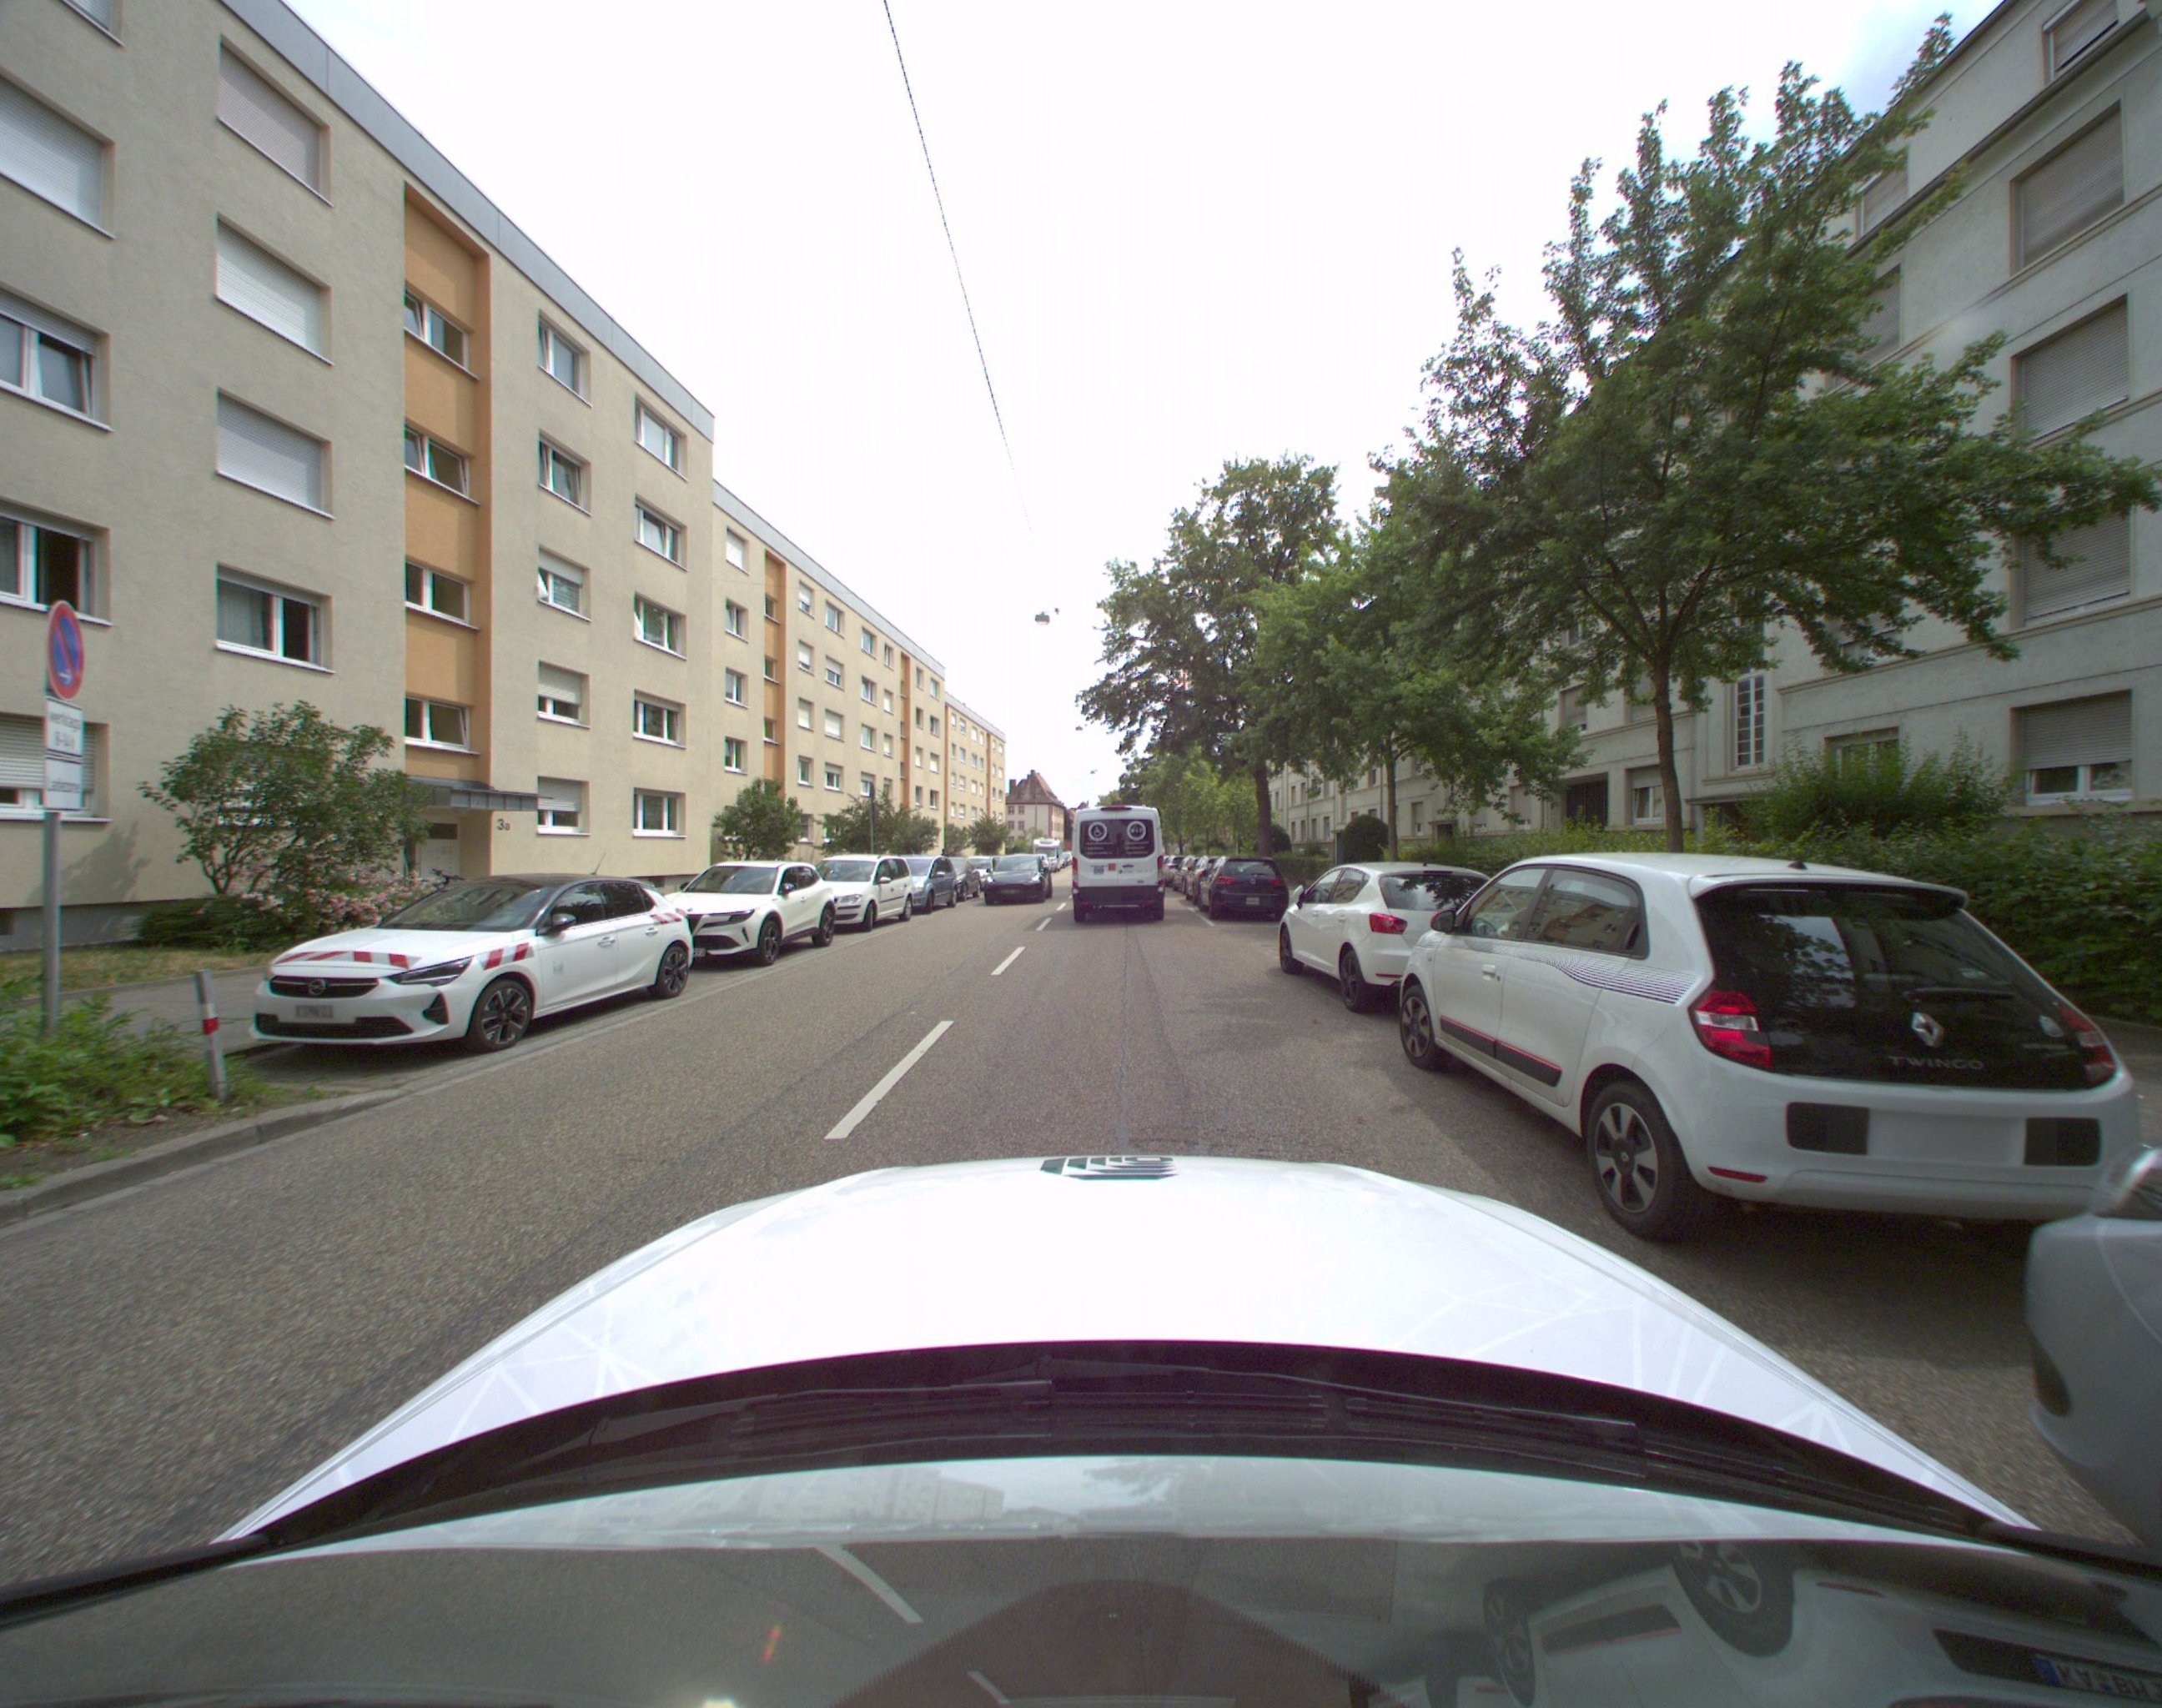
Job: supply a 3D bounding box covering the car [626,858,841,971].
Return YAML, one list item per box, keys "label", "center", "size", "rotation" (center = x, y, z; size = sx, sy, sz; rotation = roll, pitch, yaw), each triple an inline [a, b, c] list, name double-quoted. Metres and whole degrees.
- label: "car"
  center: [-5.383, 0.846, 13.241]
  size: [1.702, 1.473, 3.990]
  rotation: [1, 0, 1]

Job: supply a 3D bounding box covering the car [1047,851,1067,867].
- label: "car"
  center: [-2.426, 0.482, 83.594]
  size: [1.879, 1.579, 5.219]
  rotation: [1, 0, 1]

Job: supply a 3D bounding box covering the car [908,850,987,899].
- label: "car"
  center: [-4.733, 0.684, 29.529]
  size: [1.934, 1.612, 4.305]
  rotation: [1, 0, 3]

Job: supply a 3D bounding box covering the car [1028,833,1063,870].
- label: "car"
  center: [-3.033, -0.201, 71.344]
  size: [2.501, 3.024, 7.400]
  rotation: [1, 0, 2]

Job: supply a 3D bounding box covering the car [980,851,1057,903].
- label: "car"
  center: [-2.008, 0.701, 27.393]
  size: [1.943, 1.521, 4.616]
  rotation: [-2, 0, 3]

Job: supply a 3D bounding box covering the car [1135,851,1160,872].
- label: "car"
  center: [5.316, 0.564, 65.536]
  size: [1.654, 1.583, 4.286]
  rotation: [2, 0, 0]

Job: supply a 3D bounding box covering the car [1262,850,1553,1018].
- label: "car"
  center: [3.314, 0.691, 9.172]
  size: [1.691, 1.450, 4.102]
  rotation: [0, 0, 1]

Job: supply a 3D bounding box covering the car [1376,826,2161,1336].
- label: "car"
  center: [3.043, 0.725, 4.553]
  size: [1.598, 1.607, 3.808]
  rotation: [2, 0, 4]

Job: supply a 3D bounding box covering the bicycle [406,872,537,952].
- label: "bicycle"
  center: [-10.780, 0.981, 14.495]
  size: [0.575, 1.251, 1.941]
  rotation: [0, 1, 13]

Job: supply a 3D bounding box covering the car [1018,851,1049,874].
- label: "car"
  center: [-3.421, 0.571, 59.236]
  size: [1.747, 1.579, 4.572]
  rotation: [-1, 0, 3]

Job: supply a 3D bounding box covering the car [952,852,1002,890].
- label: "car"
  center: [-4.642, 0.712, 36.796]
  size: [1.664, 1.561, 3.853]
  rotation: [1, 0, 1]

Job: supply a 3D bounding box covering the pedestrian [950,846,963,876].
- label: "pedestrian"
  center: [-7.569, 0.438, 49.621]
  size: [0.617, 1.813, 0.803]
  rotation: [-1, 0, 0]

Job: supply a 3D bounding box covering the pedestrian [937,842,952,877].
- label: "pedestrian"
  center: [-7.341, 0.297, 43.753]
  size: [0.617, 1.813, 0.899]
  rotation: [1, 0, 0]

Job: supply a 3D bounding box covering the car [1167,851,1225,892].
- label: "car"
  center: [4.480, 0.625, 32.371]
  size: [1.691, 1.469, 4.755]
  rotation: [1, 0, 1]

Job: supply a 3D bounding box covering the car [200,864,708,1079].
- label: "car"
  center: [-5.576, 0.888, 8.030]
  size: [1.701, 1.473, 3.994]
  rotation: [1, 0, 4]

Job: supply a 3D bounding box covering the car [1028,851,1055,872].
- label: "car"
  center: [-3.094, 0.556, 64.412]
  size: [1.682, 1.579, 4.596]
  rotation: [1, 0, 2]

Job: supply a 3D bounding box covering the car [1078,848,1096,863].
- label: "car"
  center: [0.694, 0.167, 88.968]
  size: [1.811, 1.585, 4.438]
  rotation: [-1, 0, 1]

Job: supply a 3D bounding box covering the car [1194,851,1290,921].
- label: "car"
  center: [3.769, 0.674, 19.630]
  size: [1.690, 1.469, 4.105]
  rotation: [1, 0, 3]

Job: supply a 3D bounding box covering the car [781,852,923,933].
- label: "car"
  center: [-5.112, 0.776, 18.871]
  size: [1.689, 1.612, 4.483]
  rotation: [1, 0, 4]

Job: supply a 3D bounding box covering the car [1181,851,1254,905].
- label: "car"
  center: [4.105, 0.675, 25.134]
  size: [1.690, 1.469, 4.563]
  rotation: [1, 0, 3]

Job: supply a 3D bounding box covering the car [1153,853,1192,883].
- label: "car"
  center: [4.800, 0.705, 43.134]
  size: [1.664, 1.400, 3.853]
  rotation: [2, 0, 1]

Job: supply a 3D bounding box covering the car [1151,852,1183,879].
- label: "car"
  center: [5.060, 0.633, 48.268]
  size: [1.771, 1.469, 4.621]
  rotation: [1, 0, 5]

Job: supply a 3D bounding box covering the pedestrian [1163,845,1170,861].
- label: "pedestrian"
  center: [9.855, -0.122, 94.191]
  size: [0.526, 1.828, 0.518]
  rotation: [-1, 0, -40]

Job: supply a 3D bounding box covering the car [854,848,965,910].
- label: "car"
  center: [-4.947, 0.649, 24.254]
  size: [1.933, 1.612, 4.867]
  rotation: [1, 0, 4]

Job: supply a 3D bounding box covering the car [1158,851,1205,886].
- label: "car"
  center: [4.605, 0.627, 37.872]
  size: [1.691, 1.469, 4.719]
  rotation: [1, 0, 2]

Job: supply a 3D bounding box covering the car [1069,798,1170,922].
- label: "car"
  center: [0.834, 0.130, 19.271]
  size: [2.063, 2.540, 4.635]
  rotation: [-1, 0, 1]

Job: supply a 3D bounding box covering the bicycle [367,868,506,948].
- label: "bicycle"
  center: [-11.518, 0.917, 14.657]
  size: [0.532, 1.251, 2.052]
  rotation: [0, 1, 13]
